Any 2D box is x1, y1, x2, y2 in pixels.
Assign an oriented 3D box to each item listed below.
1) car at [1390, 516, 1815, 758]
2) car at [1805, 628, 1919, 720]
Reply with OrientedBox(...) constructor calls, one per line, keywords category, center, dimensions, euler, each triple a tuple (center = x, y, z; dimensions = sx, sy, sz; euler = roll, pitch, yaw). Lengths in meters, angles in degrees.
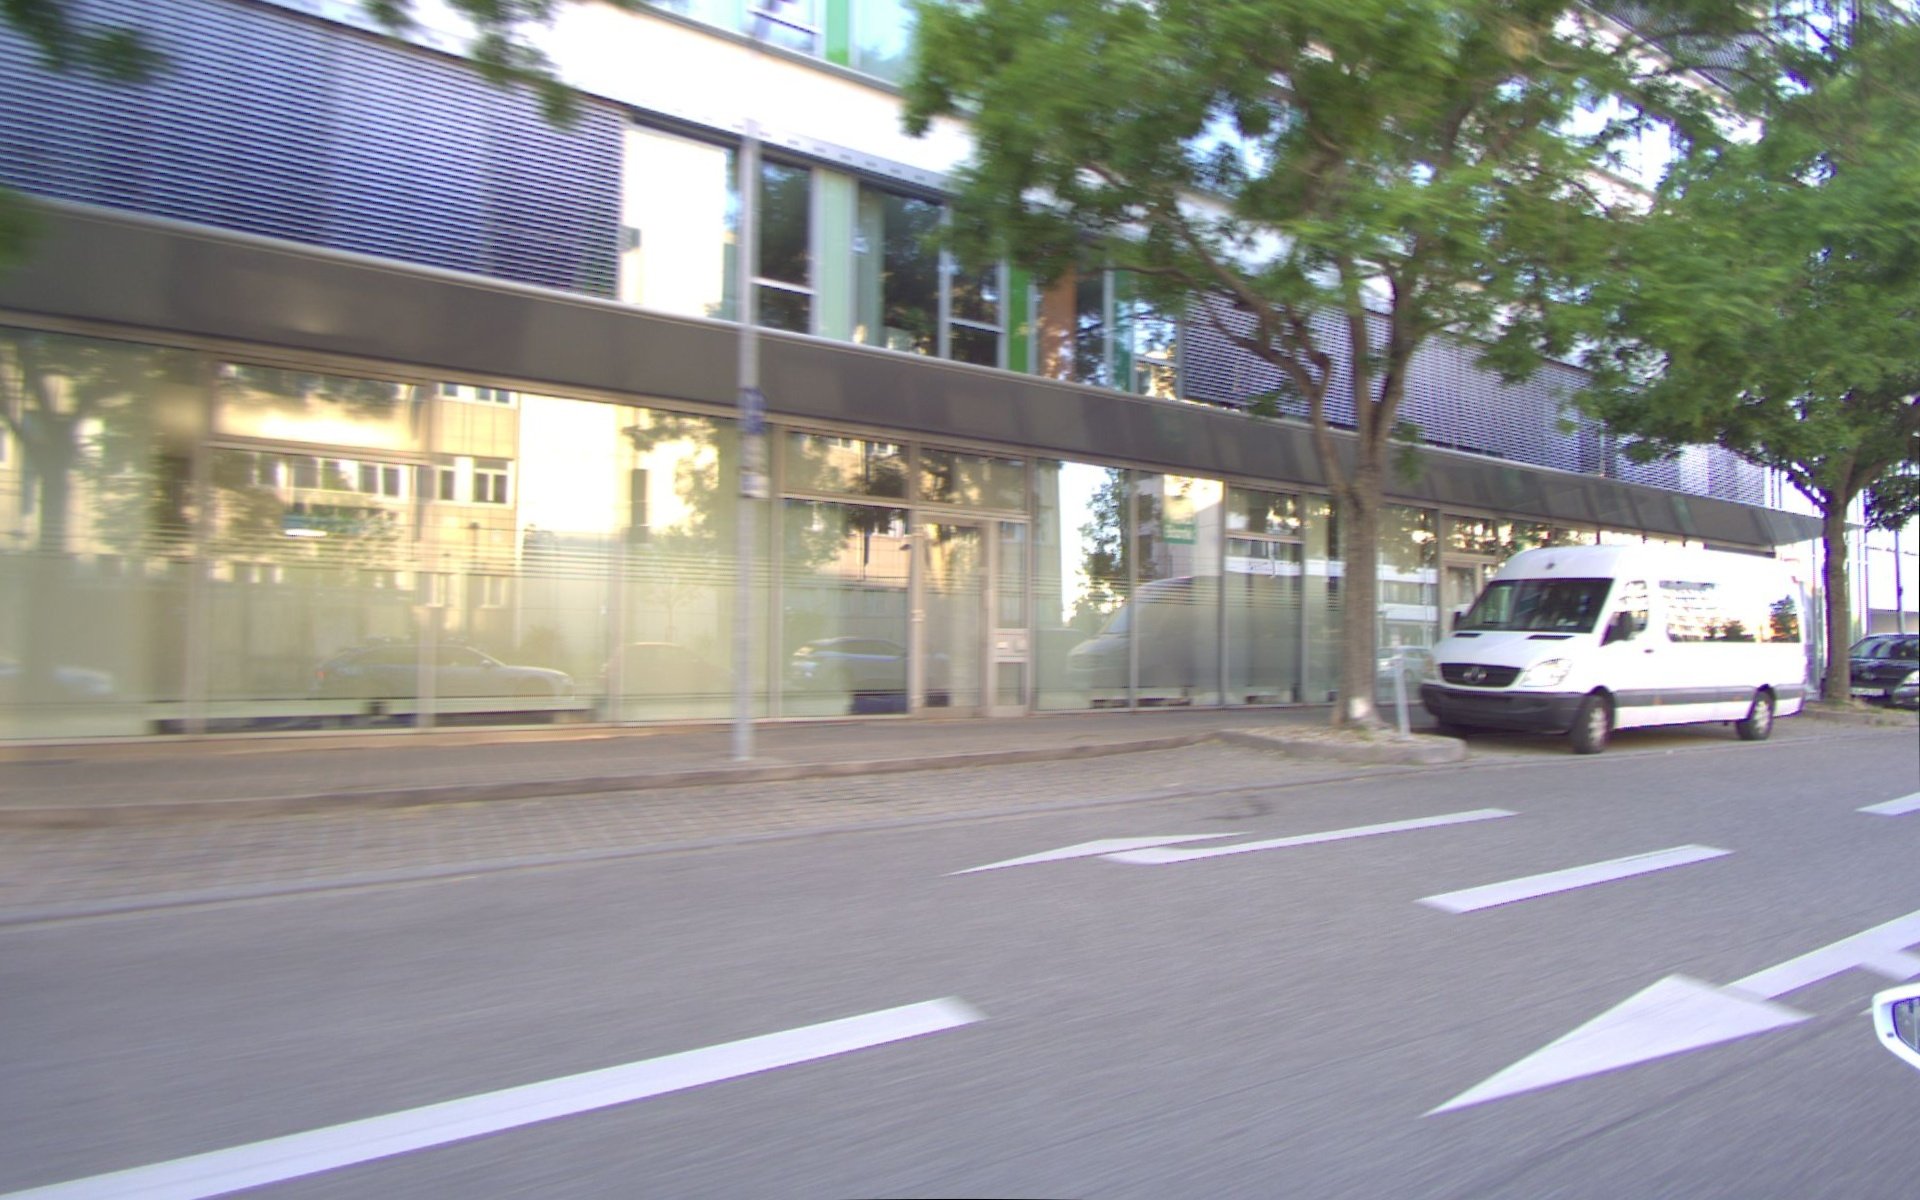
OrientedBox(category="car", center=(9.050, 0.527, 13.880), dimensions=(6.870, 2.699, 2.090), euler=(2, -2, -31))
OrientedBox(category="car", center=(18.190, 1.358, 19.197), dimensions=(4.217, 1.592, 1.835), euler=(2, -2, -30))
